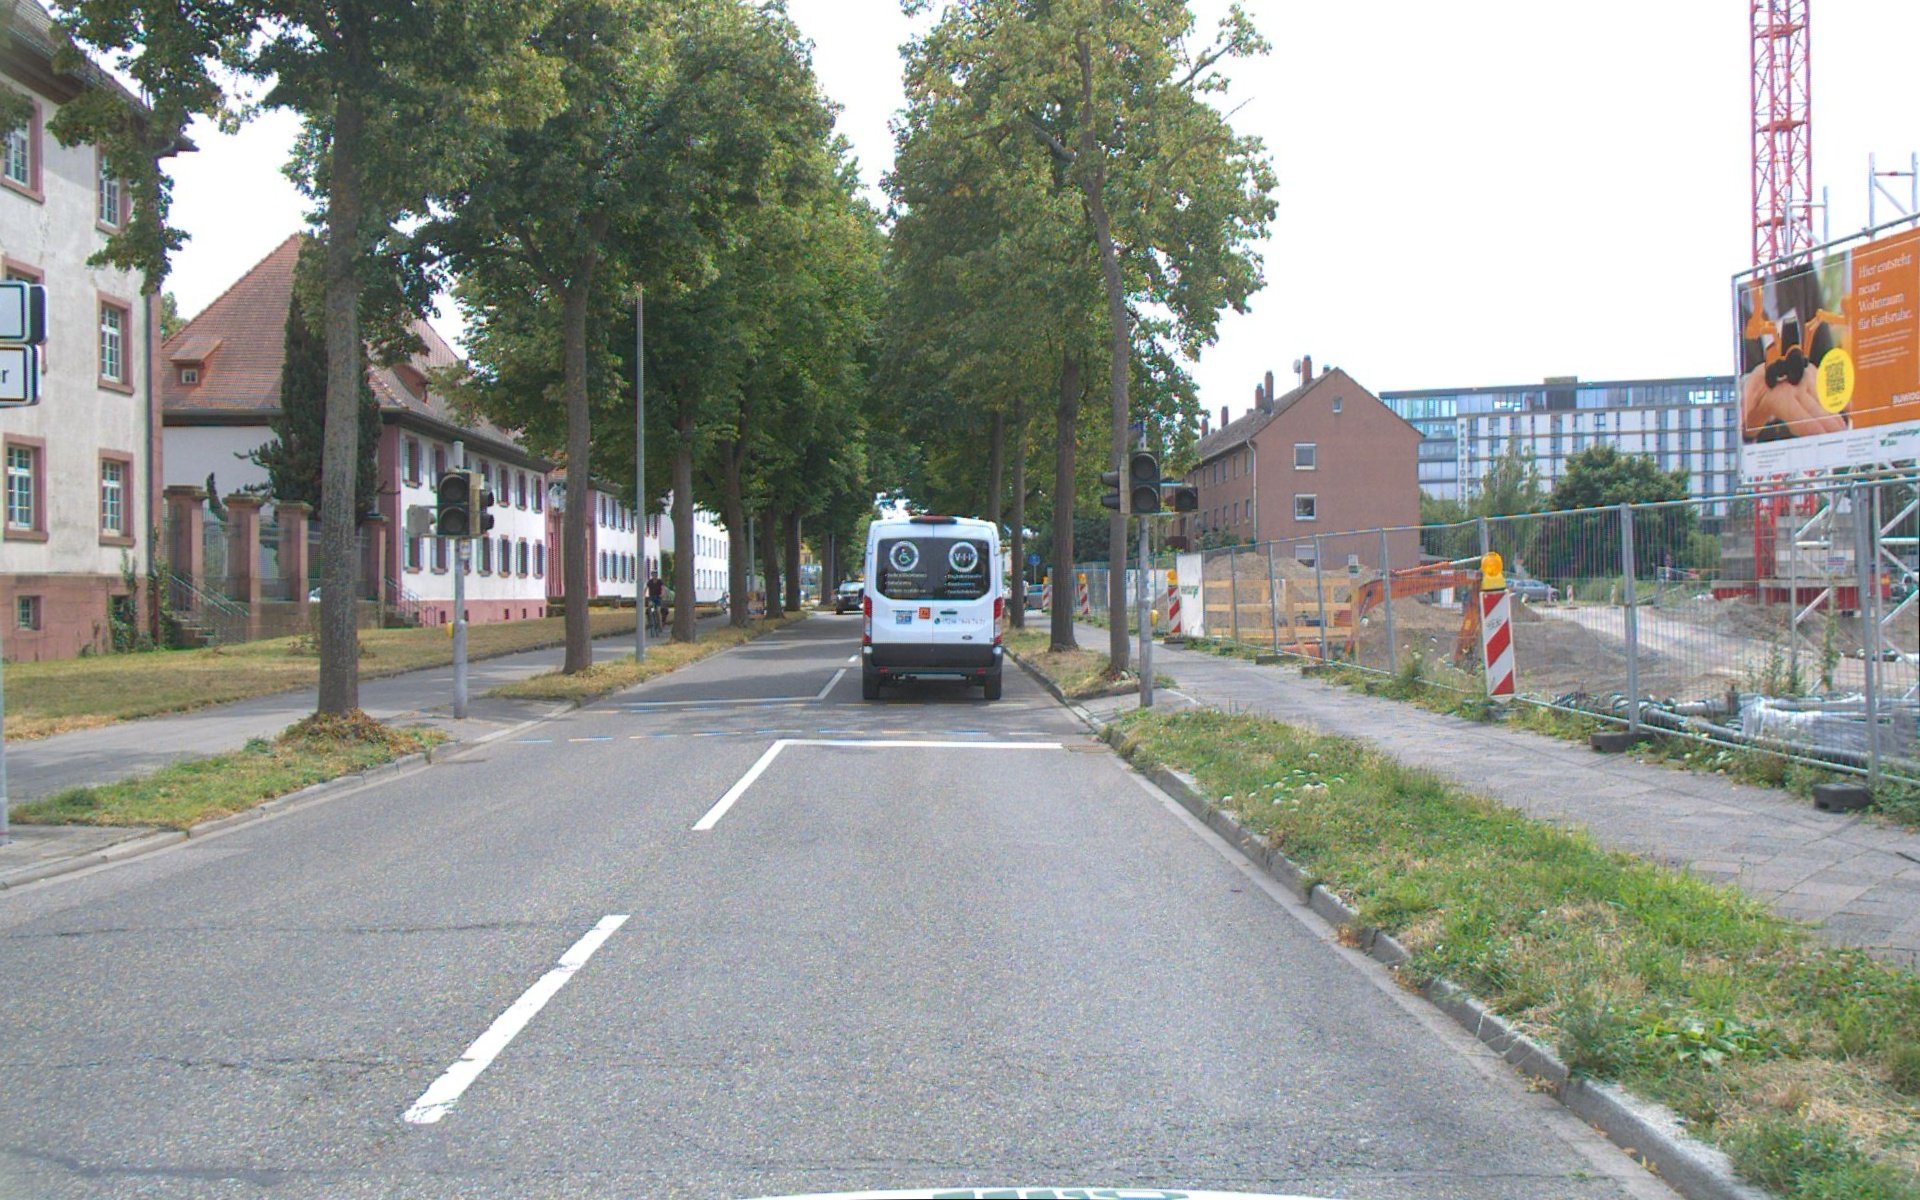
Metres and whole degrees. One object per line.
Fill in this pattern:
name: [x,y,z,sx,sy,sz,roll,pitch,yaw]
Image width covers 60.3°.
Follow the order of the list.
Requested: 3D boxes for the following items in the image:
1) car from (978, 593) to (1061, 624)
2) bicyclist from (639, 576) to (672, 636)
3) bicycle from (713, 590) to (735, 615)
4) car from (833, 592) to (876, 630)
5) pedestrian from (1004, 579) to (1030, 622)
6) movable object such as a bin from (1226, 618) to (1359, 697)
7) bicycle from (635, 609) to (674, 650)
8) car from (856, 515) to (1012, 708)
car: [3.101,0.462,86.790,4.282,1.468,2.010,-1,-2,0]
bicyclist: [-8.772,0.163,47.731,0.708,1.685,0.958,3,0,-2]
bicycle: [-11.237,0.113,78.838,0.708,1.114,2.224,3,0,-2]
car: [-5.113,0.518,80.586,1.735,1.688,4.257,-2,0,0]
pedestrian: [2.539,0.014,73.564,0.864,1.846,0.889,-2,0,17]
movable object such as a bin: [12.210,2.088,60.654,4.583,2.635,3.135,-2,0,13]
bicycle: [-8.801,0.837,47.702,0.708,1.114,2.150,3,0,-2]
car: [-0.470,0.168,24.254,2.022,2.584,3.996,0,0,-5]
